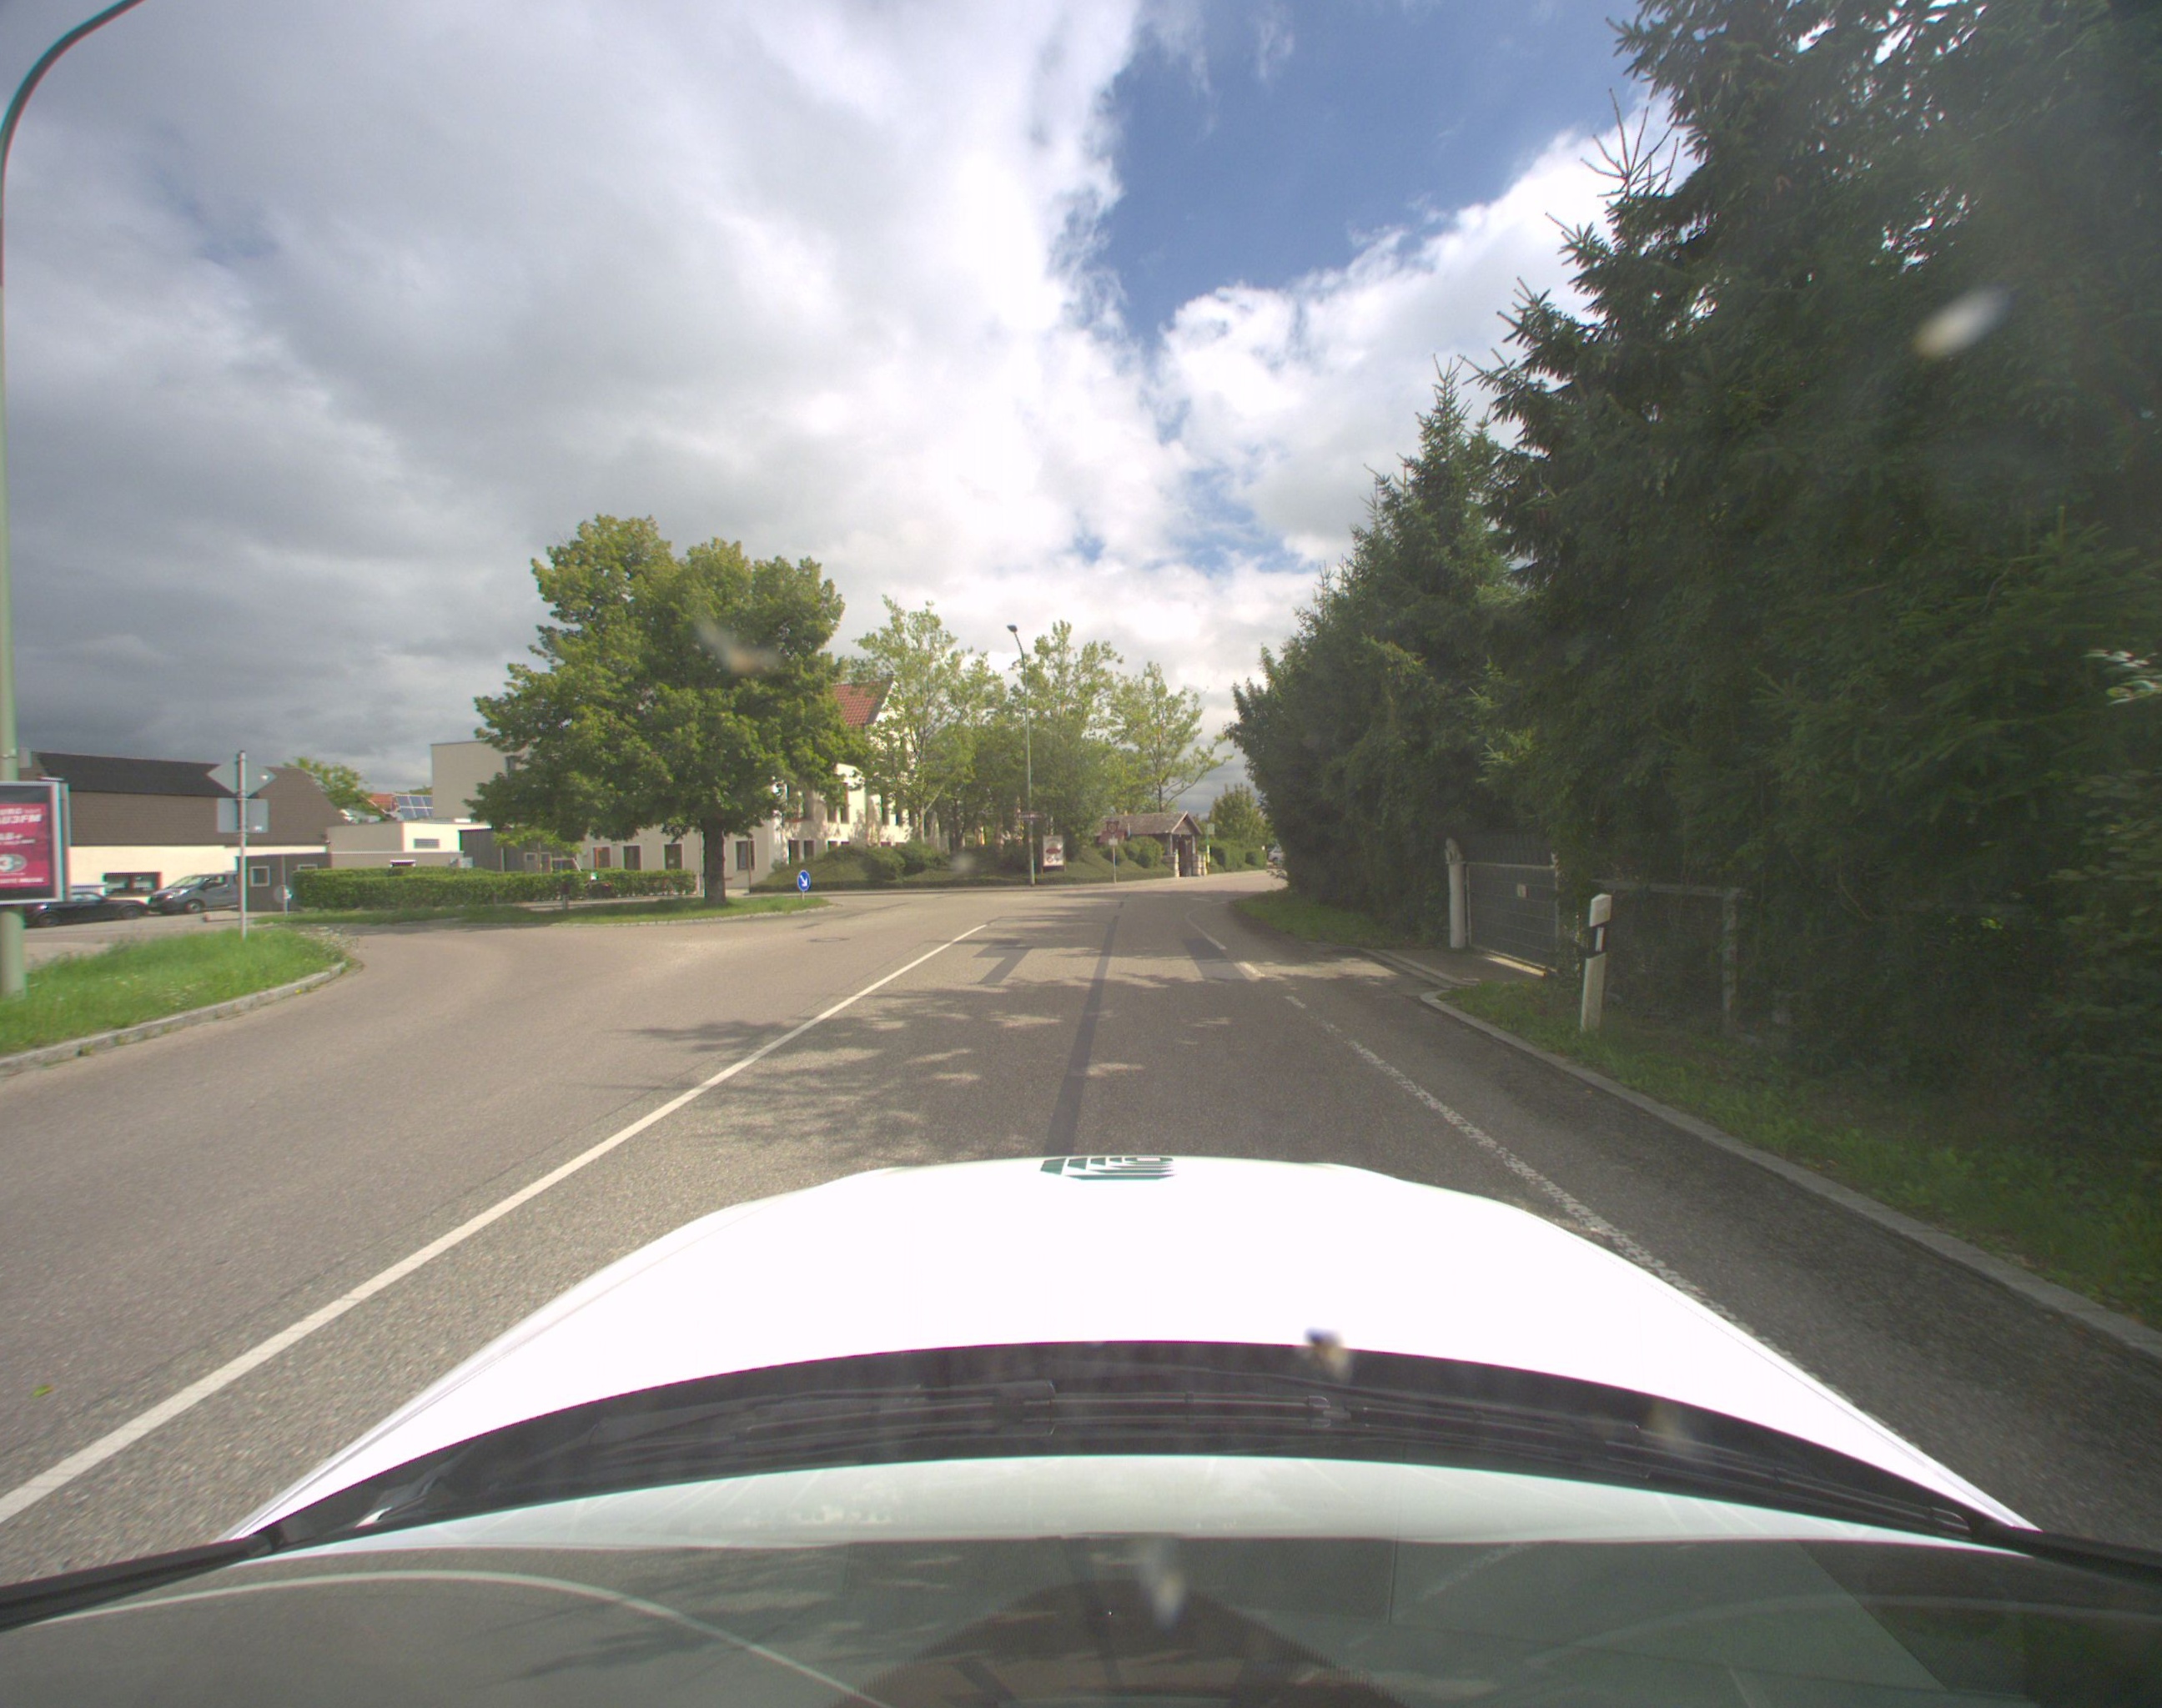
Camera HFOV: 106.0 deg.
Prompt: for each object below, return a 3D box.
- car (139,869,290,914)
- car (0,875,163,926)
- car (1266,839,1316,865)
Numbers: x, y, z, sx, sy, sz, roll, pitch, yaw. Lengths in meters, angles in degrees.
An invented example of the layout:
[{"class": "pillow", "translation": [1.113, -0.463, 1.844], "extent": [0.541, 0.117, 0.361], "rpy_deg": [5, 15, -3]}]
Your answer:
[{"class": "car", "translation": [-43.878, 1.847, 41.433], "extent": [1.980, 2.013, 4.916], "rpy_deg": [-2, 0, 12]}, {"class": "car", "translation": [-45.243, 2.058, 36.998], "extent": [1.980, 2.013, 4.213], "rpy_deg": [-2, 0, 12]}, {"class": "car", "translation": [18.640, -0.173, 72.408], "extent": [3.951, 2.123, 1.973], "rpy_deg": [-2, 0, 24]}]
